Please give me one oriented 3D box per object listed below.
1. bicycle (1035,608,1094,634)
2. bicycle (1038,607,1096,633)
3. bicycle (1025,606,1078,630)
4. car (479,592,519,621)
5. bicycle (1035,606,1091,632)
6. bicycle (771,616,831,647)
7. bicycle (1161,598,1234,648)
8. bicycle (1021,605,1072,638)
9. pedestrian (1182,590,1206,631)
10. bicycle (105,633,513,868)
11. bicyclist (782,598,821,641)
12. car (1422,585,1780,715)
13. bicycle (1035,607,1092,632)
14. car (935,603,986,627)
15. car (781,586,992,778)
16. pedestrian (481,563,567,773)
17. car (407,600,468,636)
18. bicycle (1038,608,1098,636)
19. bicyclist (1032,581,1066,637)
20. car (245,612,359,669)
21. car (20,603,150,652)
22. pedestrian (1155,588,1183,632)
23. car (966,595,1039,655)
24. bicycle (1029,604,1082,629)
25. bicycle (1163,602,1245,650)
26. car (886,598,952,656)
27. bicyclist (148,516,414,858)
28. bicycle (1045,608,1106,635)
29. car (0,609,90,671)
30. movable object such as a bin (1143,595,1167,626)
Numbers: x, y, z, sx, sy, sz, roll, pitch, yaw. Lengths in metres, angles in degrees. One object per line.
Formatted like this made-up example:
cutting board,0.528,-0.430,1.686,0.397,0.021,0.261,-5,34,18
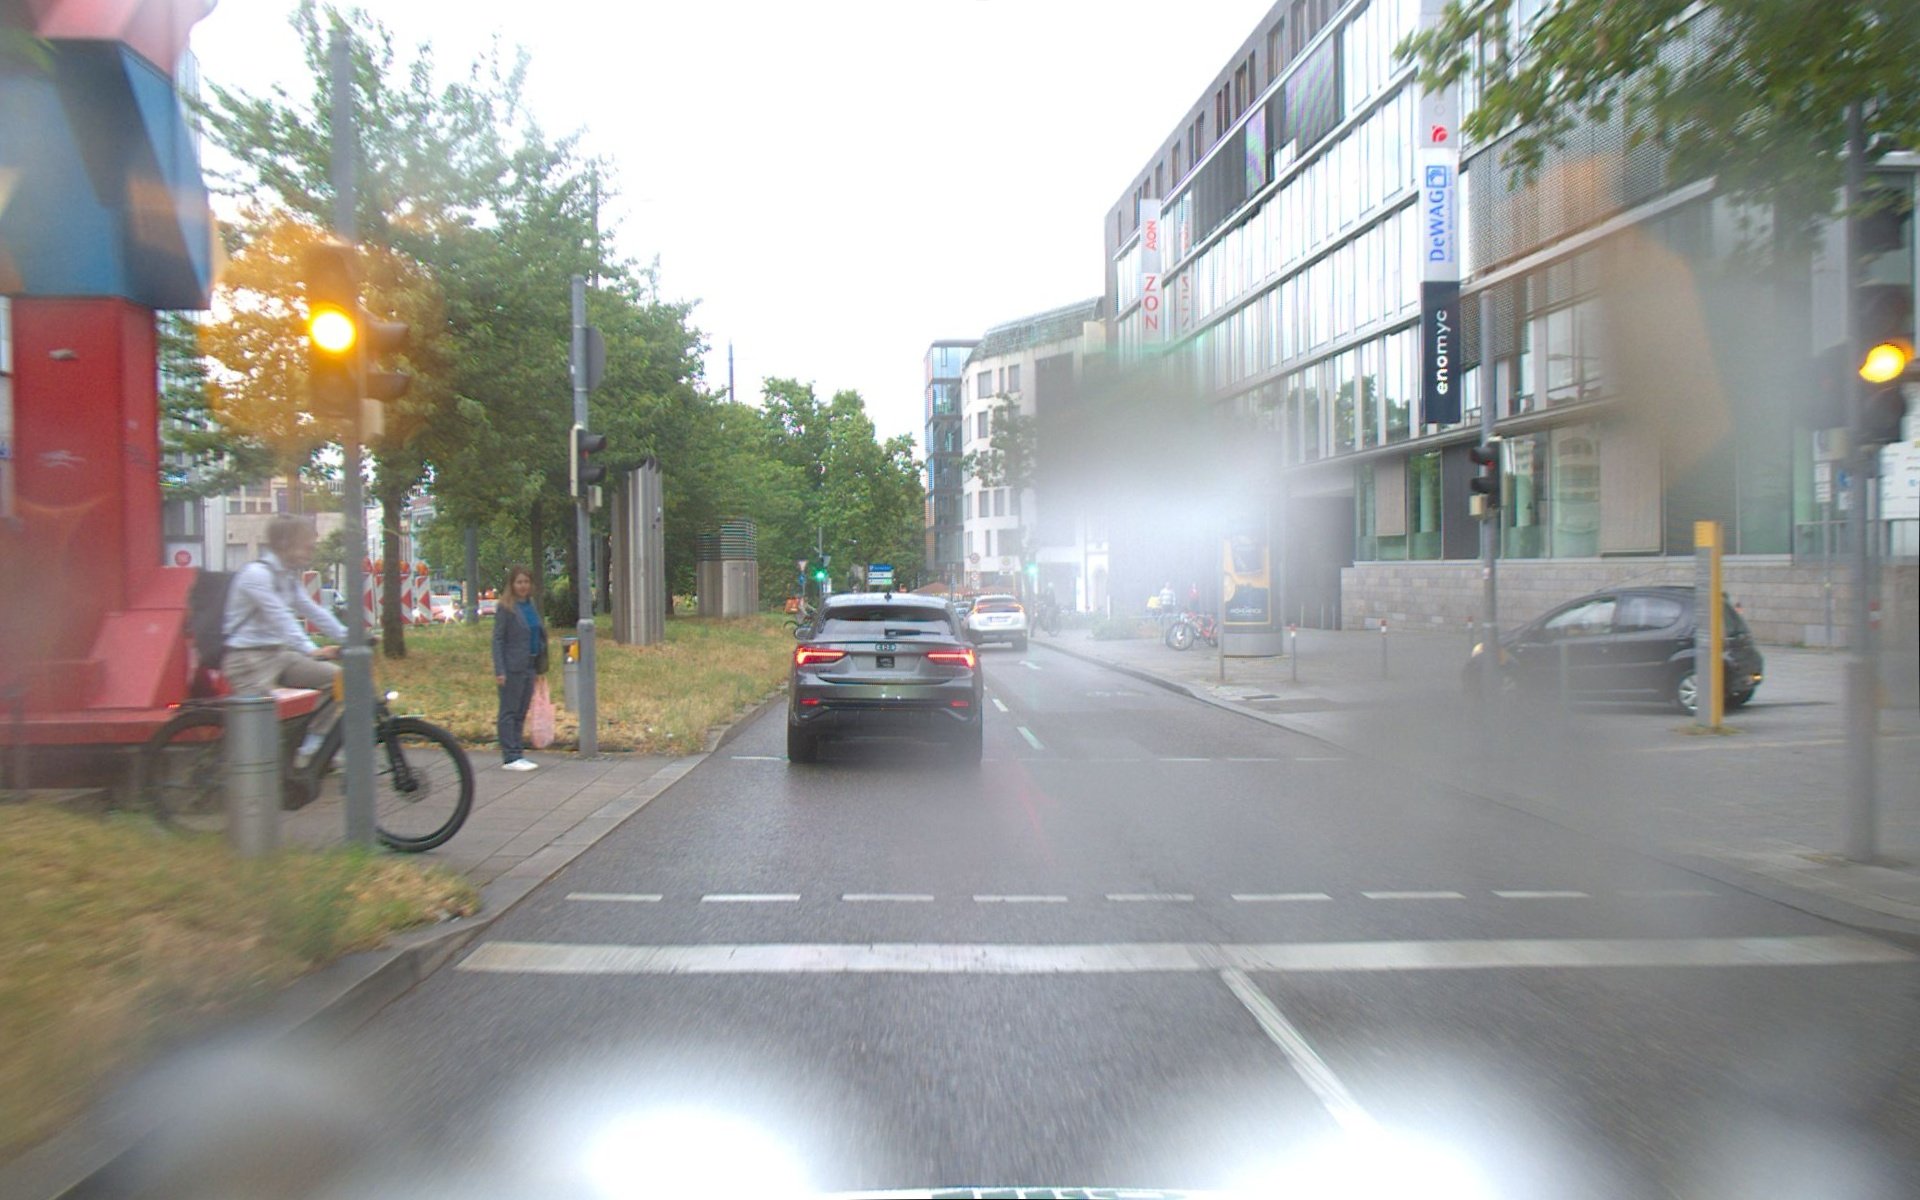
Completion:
bicycle,4.562,0.904,71.982,2.486,1.106,0.677,1,-1,-5
bicycle,4.800,0.892,74.115,2.486,1.106,0.677,-2,-1,-5
bicycle,4.502,0.875,81.304,2.486,1.106,0.677,-2,-1,-5
car,-28.600,0.406,102.651,1.909,1.730,3.992,-1,0,-9
bicycle,4.769,0.888,76.649,2.486,1.106,0.677,-2,-1,-5
bicycle,-6.053,1.195,62.940,2.018,1.133,1.012,1,-1,19
bicycle,6.239,0.607,43.449,1.798,1.218,0.660,-2,0,3
bicycle,3.332,0.818,63.334,0.750,1.165,2.119,-2,-1,43
pedestrian,10.153,0.473,71.718,0.704,1.719,1.099,-3,0,-5
bicycle,-3.591,0.813,9.245,1.931,1.159,0.777,2,0,0
bicyclist,-6.037,0.749,62.953,1.109,1.610,1.015,1,-1,20
car,7.720,0.562,20.059,3.760,1.441,1.628,-1,0,38
bicycle,4.746,0.900,75.740,2.486,1.078,0.677,-2,-1,-5
car,0.018,1.167,129.831,3.906,1.676,2.000,3,0,-1
car,-0.639,0.689,16.333,1.810,1.644,4.252,0,0,0
pedestrian,-3.640,0.552,13.835,0.517,1.715,0.721,0,0,0
car,-22.964,0.759,72.768,1.827,1.454,4.125,-1,0,-8
bicycle,4.646,0.939,71.122,2.486,1.106,0.677,-1,0,-5
bicyclist,3.425,0.348,63.450,0.750,2.119,1.078,-2,-1,44
car,-18.811,1.122,47.486,1.826,1.454,4.560,-1,0,-6
car,-25.505,0.773,48.376,1.856,1.349,4.469,-1,0,-7
pedestrian,9.050,0.434,71.693,0.882,1.823,1.045,-3,0,-6
car,1.262,0.749,50.728,2.134,1.730,4.000,-1,0,0
bicycle,4.626,0.797,80.416,2.486,1.106,0.677,-2,-1,-5
bicycle,6.115,0.637,41.594,1.942,1.123,0.808,-2,0,3
car,-1.228,0.800,50.835,1.905,1.675,4.244,-1,0,-1
bicyclist,-3.759,0.474,9.244,1.054,1.780,0.812,2,-2,0
bicycle,4.872,0.913,69.703,2.486,1.075,0.677,-1,0,-5
car,-24.041,0.997,41.921,1.740,1.426,4.681,-1,0,-4
movable object such as a bin,8.608,0.457,73.031,0.717,1.286,1.443,-3,0,-3
